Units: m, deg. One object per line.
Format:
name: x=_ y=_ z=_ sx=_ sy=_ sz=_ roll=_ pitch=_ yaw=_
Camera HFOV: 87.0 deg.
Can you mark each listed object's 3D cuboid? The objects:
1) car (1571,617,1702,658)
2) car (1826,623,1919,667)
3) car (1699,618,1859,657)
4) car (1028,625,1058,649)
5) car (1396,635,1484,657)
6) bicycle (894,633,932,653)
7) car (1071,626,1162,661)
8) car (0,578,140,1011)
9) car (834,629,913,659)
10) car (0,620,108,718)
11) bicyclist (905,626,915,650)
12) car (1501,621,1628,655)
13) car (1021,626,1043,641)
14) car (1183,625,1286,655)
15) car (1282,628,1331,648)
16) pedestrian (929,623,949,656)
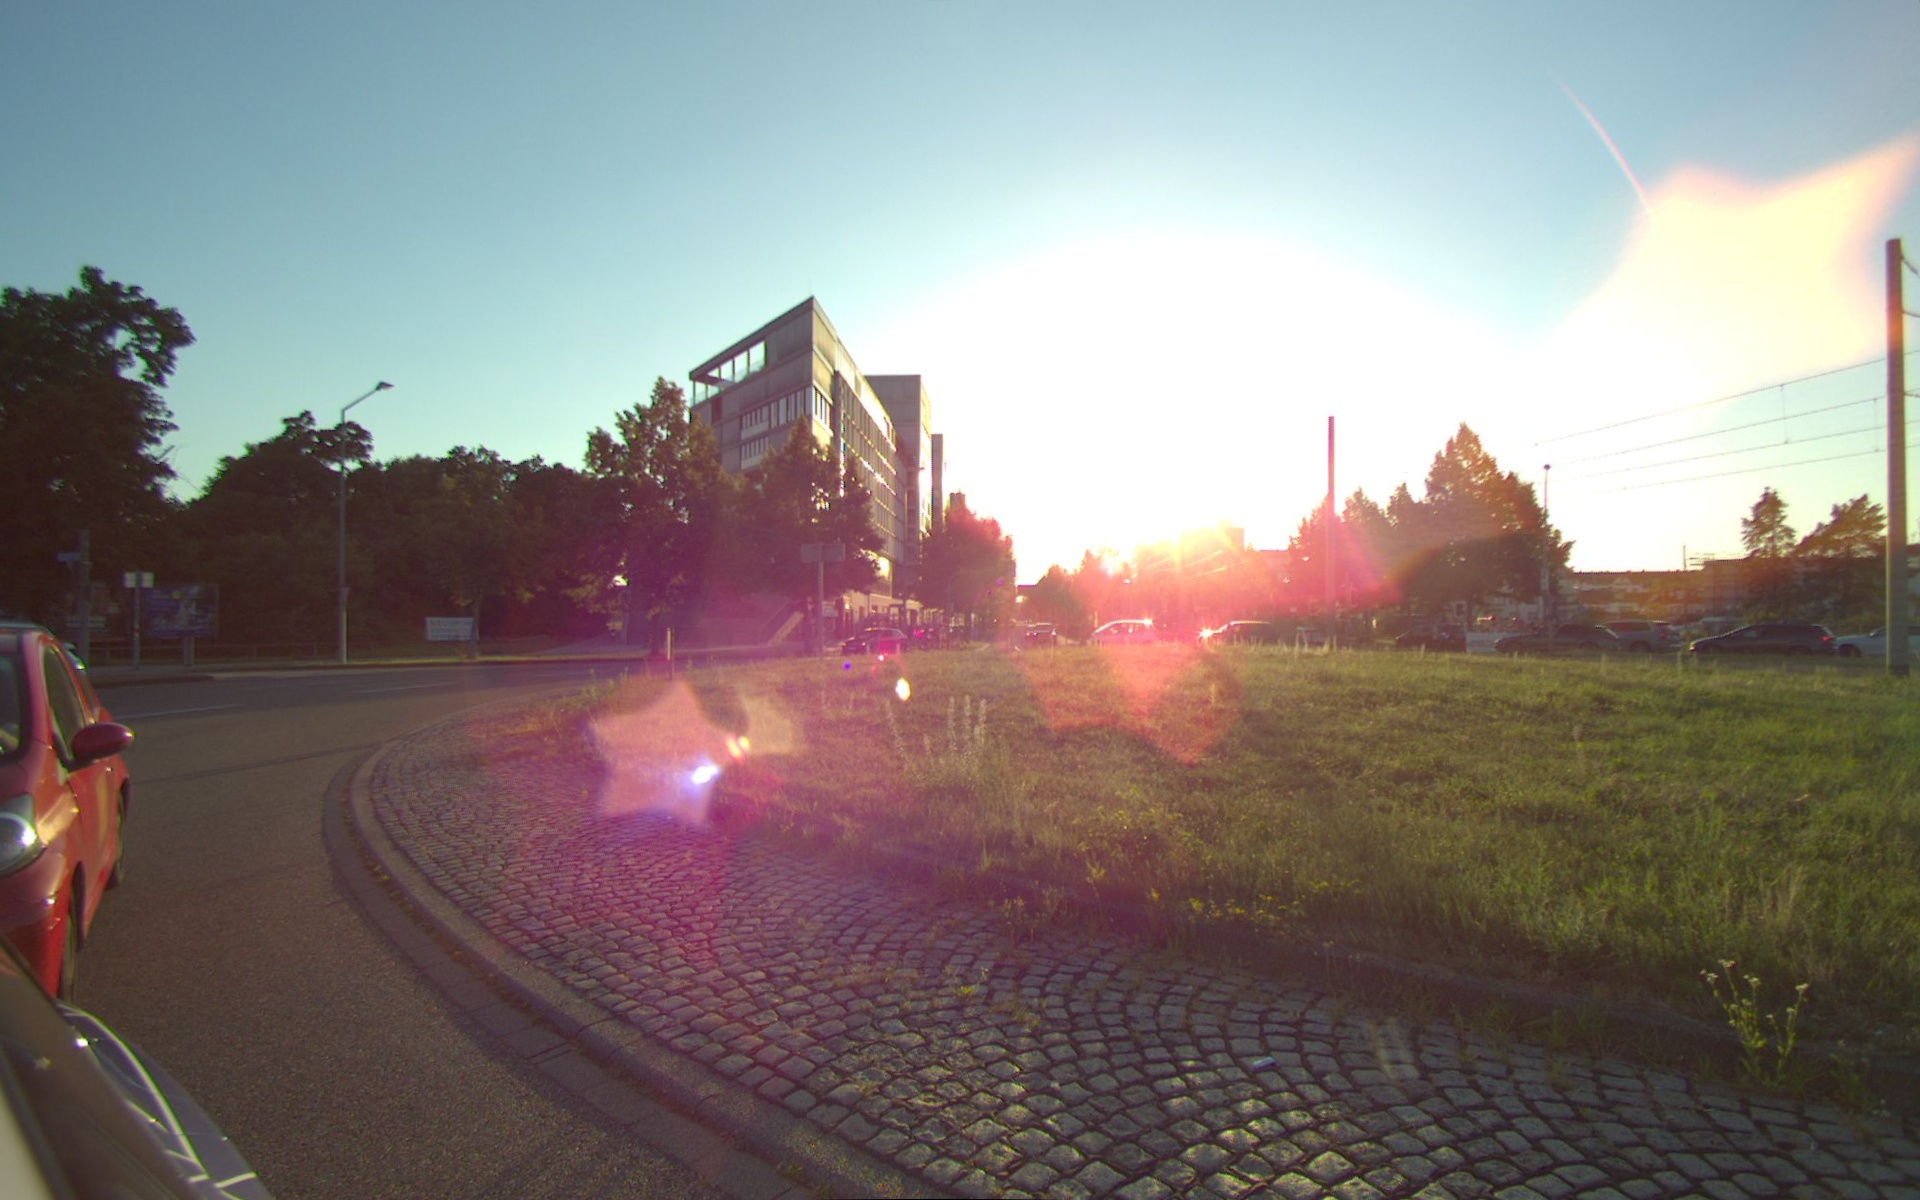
car: x=30.785 y=1.683 z=46.168 sx=1.865 sy=1.750 sz=4.638 roll=1 pitch=-1 yaw=-38
car: x=38.433 y=1.810 z=40.975 sx=1.967 sy=1.719 sz=4.728 roll=1 pitch=-1 yaw=-34
car: x=30.620 y=1.377 z=37.926 sx=1.969 sy=1.386 sz=4.389 roll=1 pitch=-2 yaw=-42
car: x=6.613 y=2.979 z=80.844 sx=1.972 sy=1.827 sz=5.303 roll=-2 pitch=-2 yaw=1
car: x=26.087 y=2.463 z=55.030 sx=4.001 sy=1.113 sz=1.665 roll=-1 pitch=-2 yaw=44
bicycle: x=-2.904 y=2.674 z=62.969 sx=2.315 sy=1.254 sz=0.742 roll=0 pitch=-1 yaw=0
car: x=7.330 y=2.036 z=47.717 sx=3.831 sy=1.592 sz=1.958 roll=0 pitch=-1 yaw=-7
car: x=-4.892 y=0.672 z=4.564 sx=1.662 sy=1.431 sz=4.009 roll=1 pitch=-1 yaw=-37
car: x=-4.213 y=2.122 z=49.683 sx=1.746 sy=1.389 sz=4.078 roll=-1 pitch=-2 yaw=33
car: x=-17.548 y=1.189 z=18.360 sx=4.183 sy=1.618 sz=1.979 roll=-1 pitch=-1 yaw=31
bicyclist: x=-3.085 y=2.350 z=62.991 sx=0.602 sy=1.451 sz=0.692 roll=0 pitch=-1 yaw=-2
car: x=25.717 y=1.589 z=43.111 sx=4.351 sy=1.386 sz=1.972 roll=-1 pitch=-2 yaw=42
car: x=7.331 y=3.414 z=102.941 sx=1.973 sy=1.464 sz=3.998 roll=0 pitch=-1 yaw=1
car: x=12.975 y=1.886 z=48.000 sx=4.326 sy=1.386 sz=1.998 roll=0 pitch=-1 yaw=3
car: x=25.763 y=2.809 z=75.419 sx=2.081 sy=1.377 sz=4.466 roll=0 pitch=-1 yaw=0
pedestrian: x=-1.350 y=2.504 z=64.480 sx=0.995 sy=2.029 sz=0.768 roll=-1 pitch=0 yaw=29
